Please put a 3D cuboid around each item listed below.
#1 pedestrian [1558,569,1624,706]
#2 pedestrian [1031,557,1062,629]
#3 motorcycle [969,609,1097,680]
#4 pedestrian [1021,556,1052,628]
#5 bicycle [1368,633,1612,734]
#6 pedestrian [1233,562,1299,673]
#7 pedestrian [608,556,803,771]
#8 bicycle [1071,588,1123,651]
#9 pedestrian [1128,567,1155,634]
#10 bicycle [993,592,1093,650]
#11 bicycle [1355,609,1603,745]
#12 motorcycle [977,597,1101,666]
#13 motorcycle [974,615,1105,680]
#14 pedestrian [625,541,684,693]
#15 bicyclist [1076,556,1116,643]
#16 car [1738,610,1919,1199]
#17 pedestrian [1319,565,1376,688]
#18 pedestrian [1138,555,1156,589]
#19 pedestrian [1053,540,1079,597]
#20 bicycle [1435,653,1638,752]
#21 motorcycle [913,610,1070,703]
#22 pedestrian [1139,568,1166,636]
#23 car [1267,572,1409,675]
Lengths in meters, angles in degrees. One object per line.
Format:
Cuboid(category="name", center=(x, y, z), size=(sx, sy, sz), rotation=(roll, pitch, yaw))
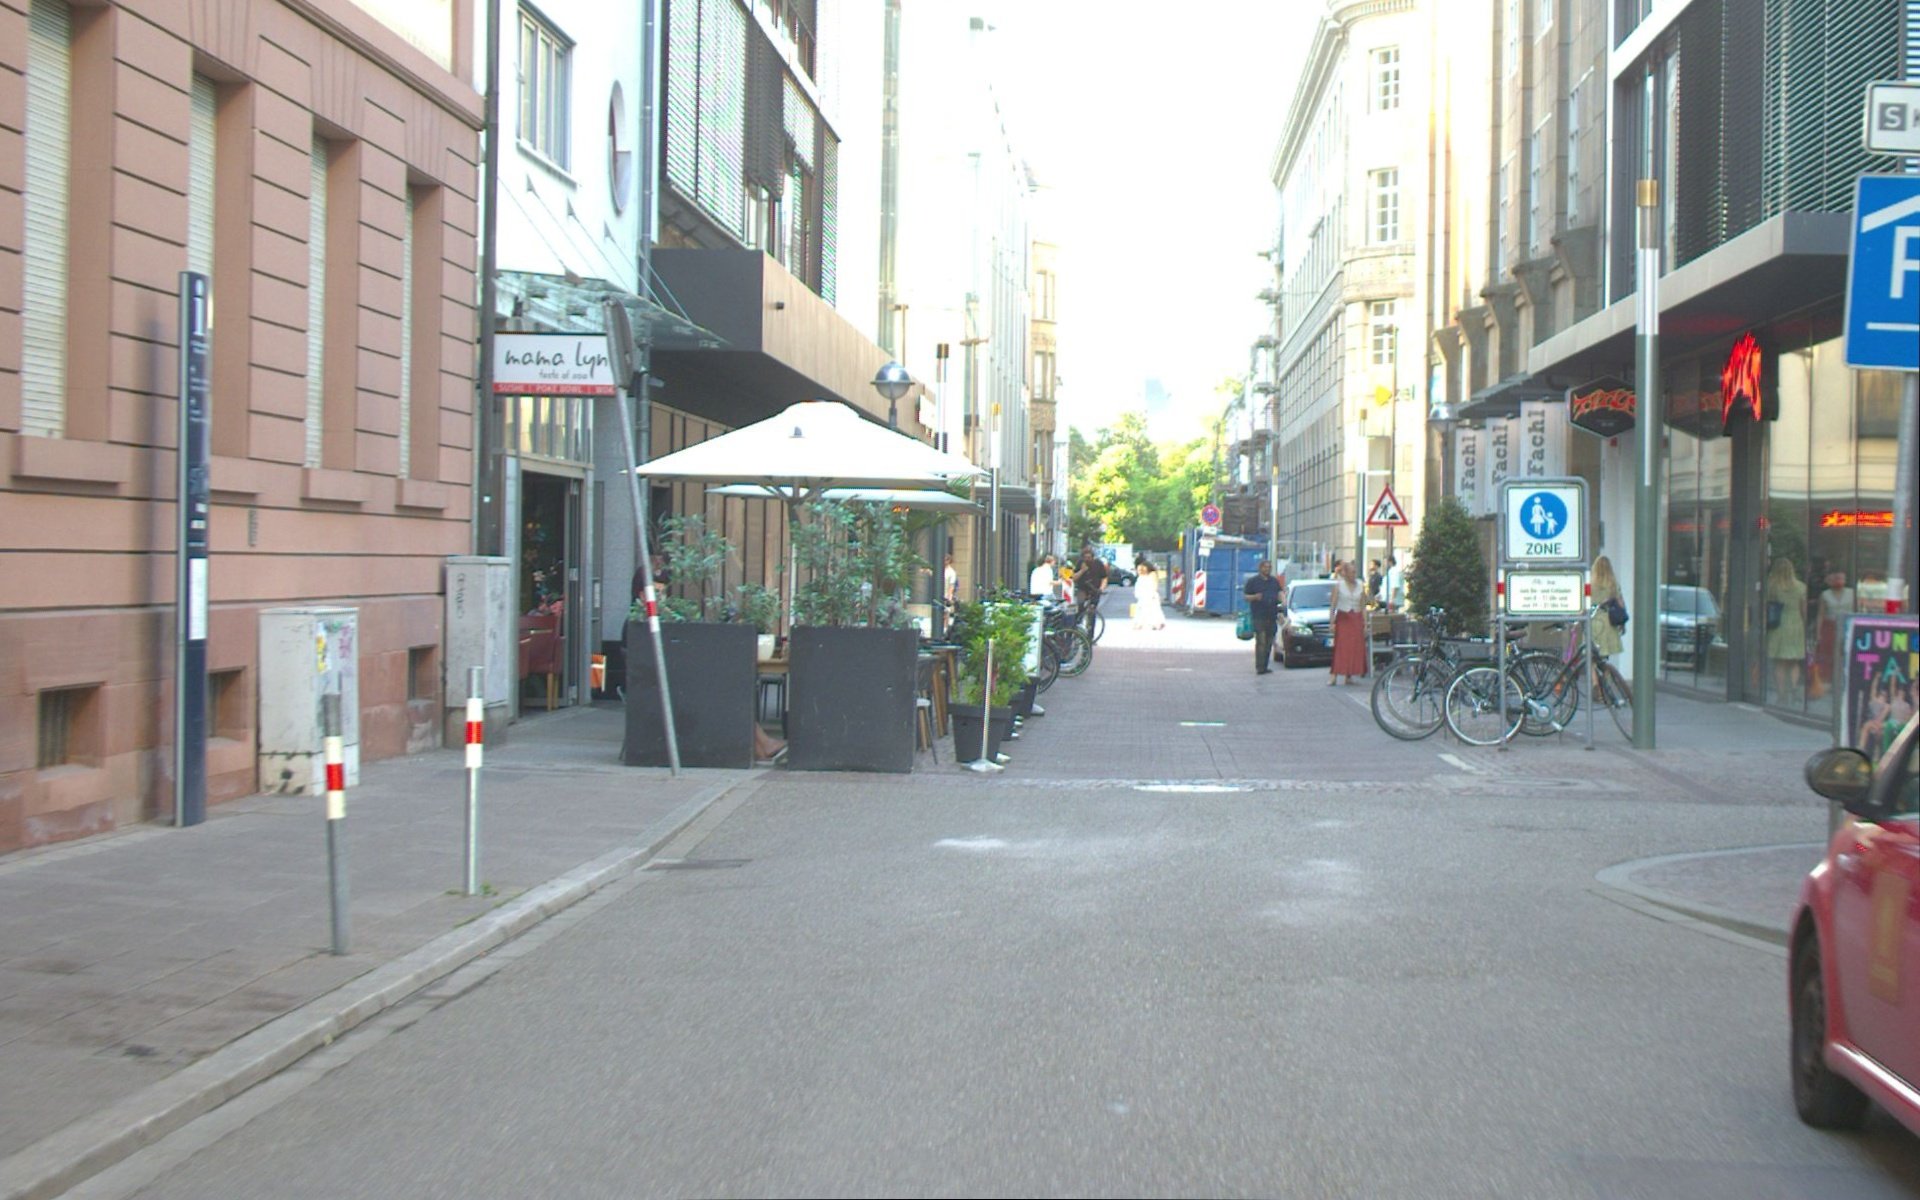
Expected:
Cuboid(category="pedestrian", center=(6.903, 0.408, 37.633), size=(0.657, 1.482, 0.493), rotation=(1, 0, 7))
Cuboid(category="pedestrian", center=(1.953, -0.157, 77.573), size=(0.603, 1.617, 0.529), rotation=(1, 0, -7))
Cuboid(category="motorcycle", center=(1.040, 0.636, 49.288), size=(1.801, 0.986, 0.560), rotation=(1, 0, -1))
Cuboid(category="pedestrian", center=(1.737, -0.186, 78.231), size=(0.603, 1.617, 0.529), rotation=(1, 0, -7))
Cuboid(category="bicycle", center=(5.030, 0.793, 32.710), size=(2.200, 0.902, 0.649), rotation=(1, 0, 0))
Cuboid(category="pedestrian", center=(4.782, 0.261, 53.725), size=(0.865, 1.707, 0.852), rotation=(1, 0, -5))
Cuboid(category="pedestrian", center=(-1.789, 0.440, 24.290), size=(1.290, 1.482, 0.661), rotation=(1, 0, 1))
Cuboid(category="bicycle", center=(2.590, 0.354, 65.254), size=(0.636, 1.153, 2.502), rotation=(1, 0, -6))
Cuboid(category="pedestrian", center=(4.377, 0.012, 82.875), size=(0.604, 1.617, 0.625), rotation=(1, 0, 5))
Cuboid(category="bicycle", center=(1.327, 0.336, 54.787), size=(1.518, 0.893, 0.485), rotation=(1, 0, -24))
Cuboid(category="bicycle", center=(4.515, 0.665, 29.985), size=(2.052, 1.130, 0.649), rotation=(1, 0, 0))
Cuboid(category="motorcycle", center=(1.163, 0.459, 50.925), size=(1.801, 0.986, 0.560), rotation=(1, 0, -1))
Cuboid(category="motorcycle", center=(1.113, 0.666, 48.256), size=(1.801, 0.872, 0.560), rotation=(1, 0, -1))
Cuboid(category="pedestrian", center=(-3.003, 0.164, 33.835), size=(0.491, 1.482, 0.566), rotation=(1, 0, 1))
Cuboid(category="bicyclist", center=(2.582, -0.010, 65.354), size=(0.636, 1.635, 0.772), rotation=(1, 0, -6))
Cuboid(category="car", center=(3.040, 0.802, 8.278), size=(1.650, 1.422, 3.535), rotation=(3, 1, 4))
Cuboid(category="pedestrian", center=(5.141, 0.351, 45.620), size=(0.633, 1.614, 0.466), rotation=(1, 0, -6))
Cuboid(category="pedestrian", center=(9.040, -1.351, 166.100), size=(0.805, 1.667, 0.888), rotation=(1, 0, 5))
Cuboid(category="pedestrian", center=(3.049, -0.913, 99.057), size=(0.678, 1.617, 0.625), rotation=(1, 0, 5))
Cuboid(category="bicycle", center=(4.758, 0.844, 28.425), size=(1.565, 0.766, 0.557), rotation=(1, 0, 0))
Cuboid(category="motorcycle", center=(0.360, 0.657, 40.102), size=(1.801, 1.037, 0.494), rotation=(1, 0, -1))
Cuboid(category="pedestrian", center=(4.609, 0.038, 82.252), size=(0.604, 1.617, 0.529), rotation=(1, 0, 5))
Cuboid(category="car", center=(6.235, 0.361, 57.053), size=(1.993, 1.605, 4.000), rotation=(1, 0, 2))
